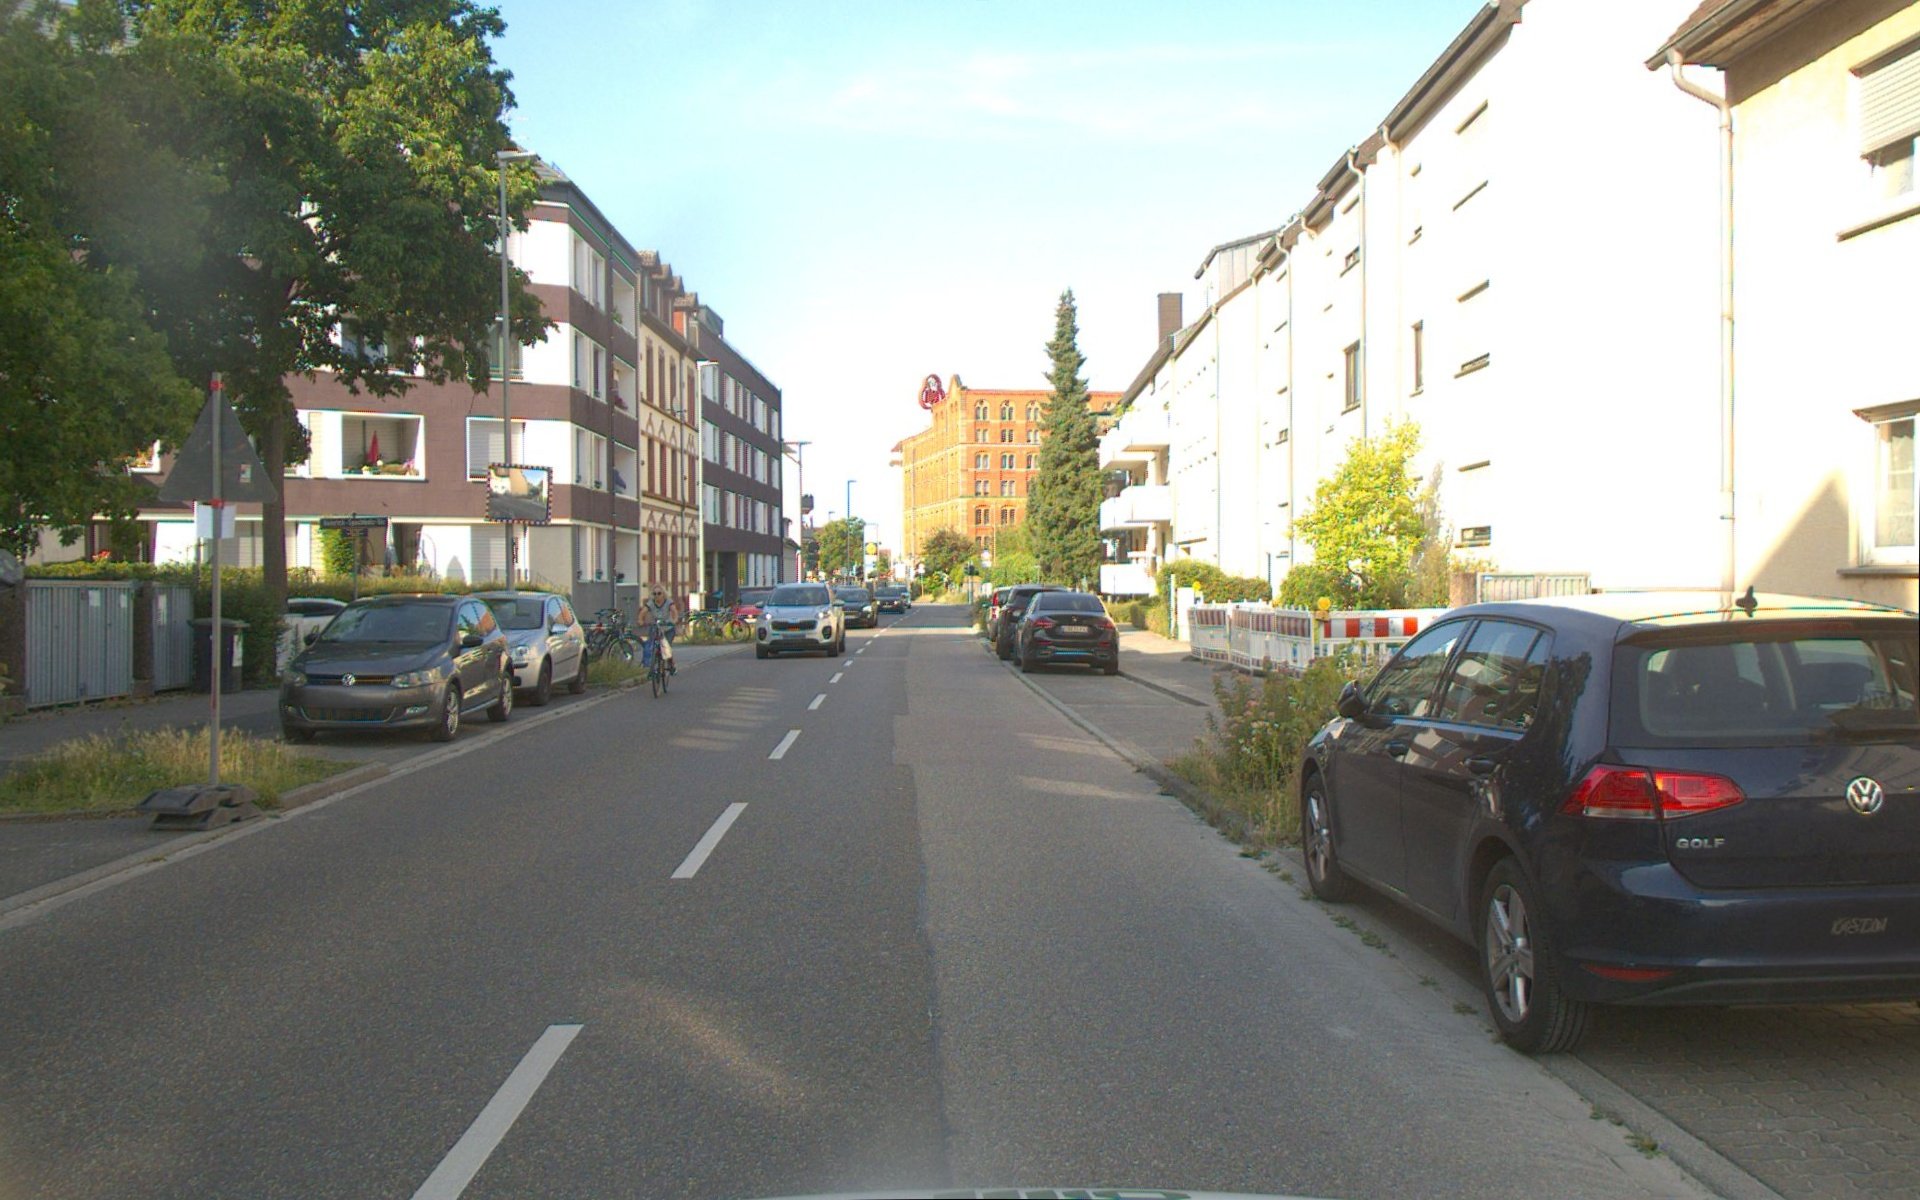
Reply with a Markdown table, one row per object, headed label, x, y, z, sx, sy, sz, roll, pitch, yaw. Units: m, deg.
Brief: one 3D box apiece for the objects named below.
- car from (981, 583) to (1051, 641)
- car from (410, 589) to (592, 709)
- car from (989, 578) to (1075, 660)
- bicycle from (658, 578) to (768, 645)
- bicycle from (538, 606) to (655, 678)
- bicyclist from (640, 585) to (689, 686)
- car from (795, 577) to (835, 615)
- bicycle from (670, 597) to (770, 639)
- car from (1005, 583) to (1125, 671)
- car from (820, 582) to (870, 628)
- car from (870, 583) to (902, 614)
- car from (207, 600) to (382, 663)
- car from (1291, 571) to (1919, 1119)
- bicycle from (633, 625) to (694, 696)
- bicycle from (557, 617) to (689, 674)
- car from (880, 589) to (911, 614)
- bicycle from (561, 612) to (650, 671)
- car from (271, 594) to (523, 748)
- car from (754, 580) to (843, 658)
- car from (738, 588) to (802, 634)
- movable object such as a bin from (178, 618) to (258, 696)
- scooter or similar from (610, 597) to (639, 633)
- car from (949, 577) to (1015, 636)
| label | x | y | z | sx | sy | sz | roll | pitch | yaw |
| --- | --- | --- | --- | --- | --- | --- | --- | --- | --- |
| car | 1.584 | 0.327 | 47.958 | 1.728 | 1.552 | 3.998 | -2 | 0 | -2 |
| car | -6.300 | 0.612 | 23.113 | 1.643 | 1.528 | 3.997 | 0 | 0 | -3 |
| car | 1.537 | 0.384 | 36.229 | 1.569 | 1.674 | 3.683 | -1 | 0 | -2 |
| bicycle | -6.875 | 0.305 | 46.137 | 2.858 | 1.808 | 1.202 | -1 | 0 | -1 |
| bicycle | -6.427 | 0.731 | 29.313 | 1.963 | 1.238 | 0.707 | 0 | 0 | -8 |
| bicyclist | -4.356 | 0.517 | 24.411 | 0.579 | 1.467 | 0.750 | 0 | 0 | -1 |
| car | -8.034 | -0.231 | 91.856 | 1.953 | 2.049 | 3.999 | 0 | 0 | -2 |
| bicycle | -6.926 | 0.512 | 47.908 | 2.716 | 1.164 | 1.143 | -1 | 0 | -1 |
| car | 1.896 | 0.464 | 31.021 | 1.822 | 1.497 | 3.998 | -1 | 0 | -2 |
| car | -4.319 | 0.172 | 62.654 | 1.728 | 1.644 | 3.998 | -1 | 0 | -2 |
| car | -4.091 | -0.076 | 92.014 | 1.728 | 1.644 | 3.998 | -1 | 0 | -2 |
| car | -15.028 | 0.689 | 37.371 | 3.416 | 1.310 | 1.645 | -1 | 0 | -34 |
| car | 2.664 | 0.662 | 6.622 | 1.793 | 1.508 | 3.942 | -1 | 0 | -1 |
| bicycle | -4.354 | 0.871 | 24.398 | 0.596 | 0.959 | 1.811 | 0 | 0 | -1 |
| bicycle | -6.129 | 0.824 | 30.201 | 2.296 | 0.987 | 0.707 | 0 | 0 | -8 |
| car | -4.322 | 0.070 | 111.303 | 1.953 | 1.624 | 3.999 | 0 | 0 | -2 |
| bicycle | -6.615 | 0.764 | 30.897 | 1.555 | 1.059 | 0.707 | 0 | 0 | -7 |
| car | -5.865 | 0.666 | 17.668 | 1.542 | 1.445 | 3.802 | 0 | 0 | -3 |
| car | -3.636 | 0.398 | 37.784 | 1.728 | 1.644 | 3.998 | -1 | 0 | -2 |
| car | -6.357 | 0.355 | 55.688 | 1.803 | 1.489 | 3.583 | 0 | 0 | -2 |
| movable object such as a bin | -10.588 | 0.804 | 23.615 | 0.737 | 1.058 | 0.816 | 2 | 0 | -2 |
| scooter or similar | -10.844 | 0.485 | 53.458 | 0.621 | 1.123 | 1.610 | 1 | 0 | -1 |
| car | 0.659 | 0.185 | 52.702 | 1.953 | 1.803 | 3.999 | 0 | 0 | -1 |
